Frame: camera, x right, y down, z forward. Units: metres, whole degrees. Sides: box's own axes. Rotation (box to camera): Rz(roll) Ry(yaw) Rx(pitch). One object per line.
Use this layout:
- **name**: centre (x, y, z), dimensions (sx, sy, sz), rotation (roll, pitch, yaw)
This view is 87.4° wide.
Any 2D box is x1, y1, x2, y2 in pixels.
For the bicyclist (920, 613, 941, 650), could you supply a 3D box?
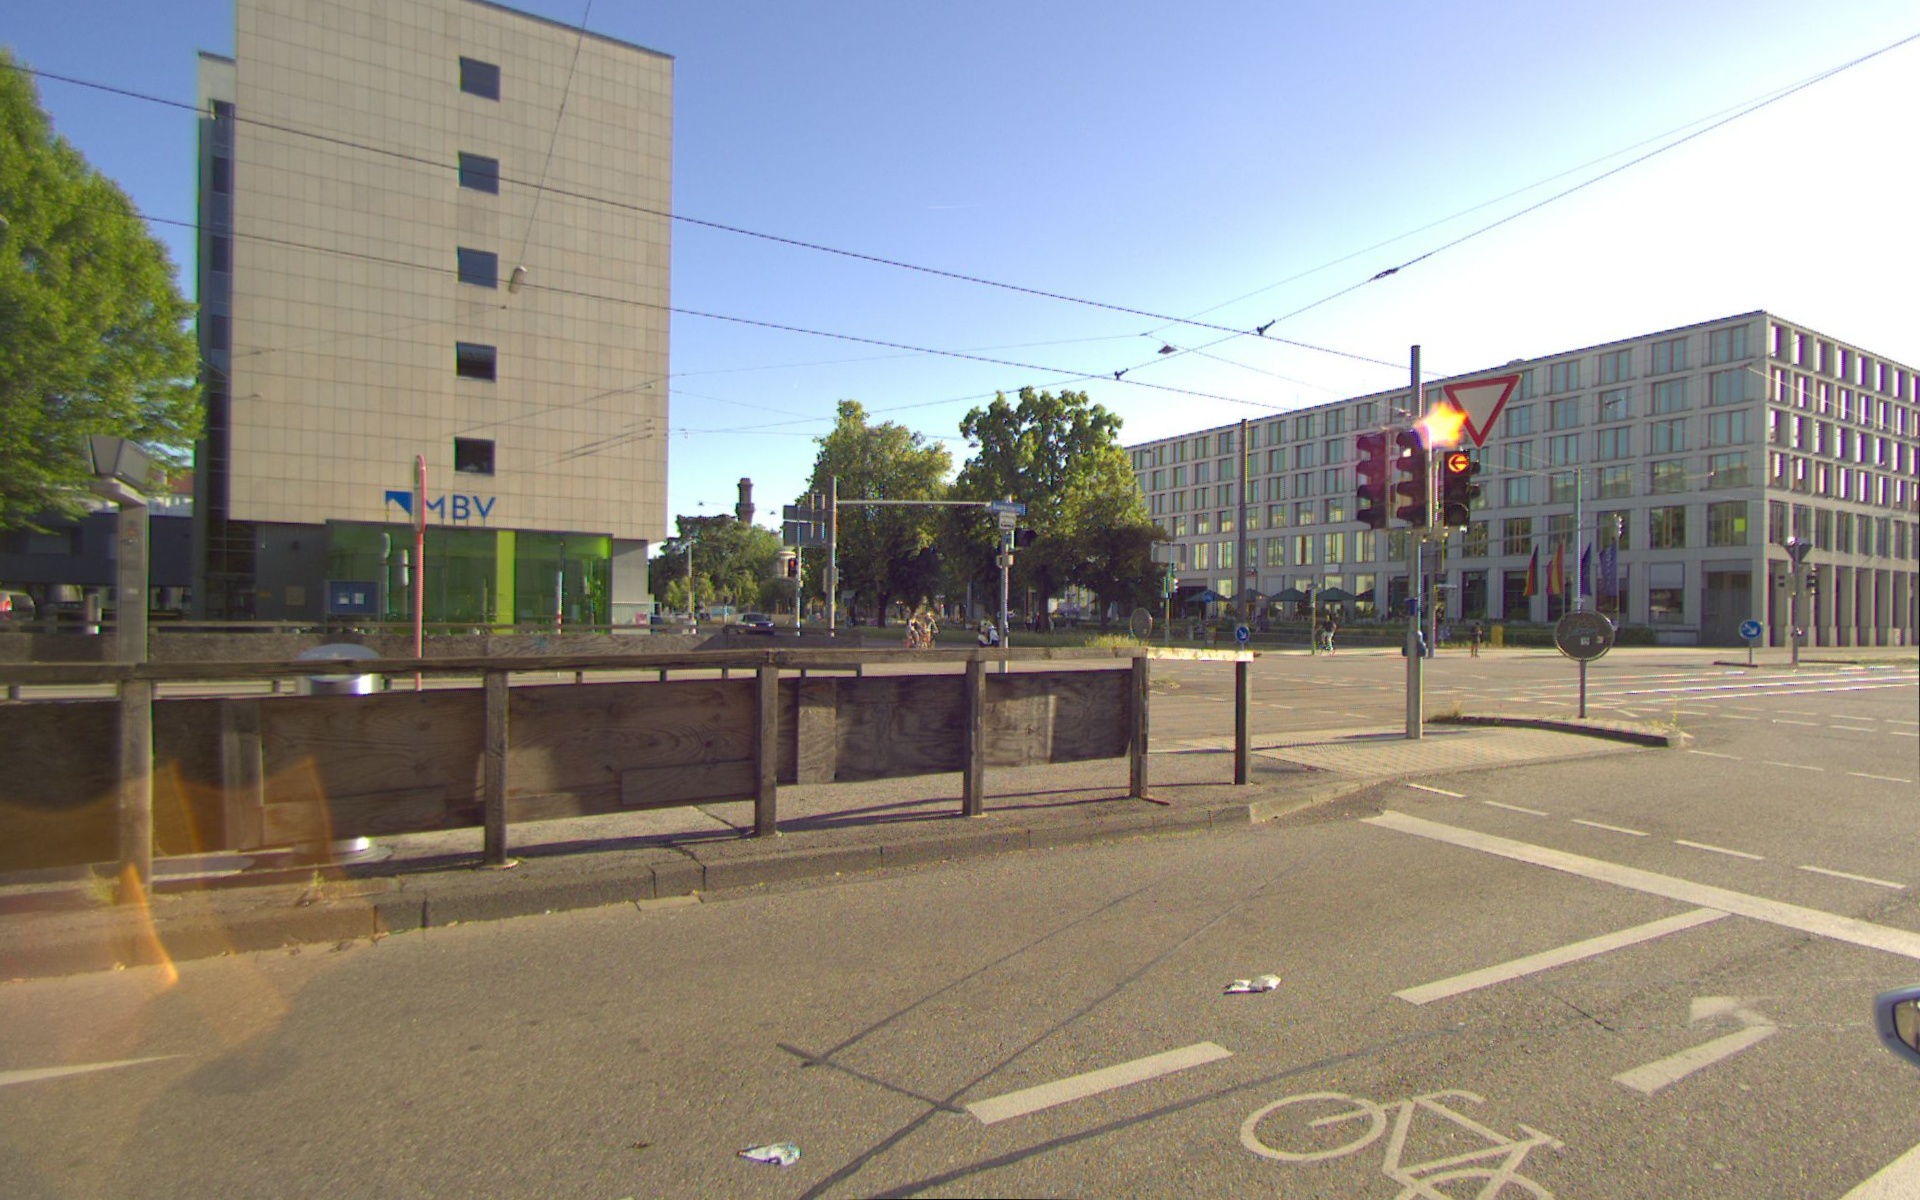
- **bicyclist**: centre (-1.256, 1.335, 42.215), dimensions (0.602, 1.544, 0.709), rotation (1, -1, -32)

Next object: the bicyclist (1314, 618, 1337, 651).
- **bicyclist**: centre (17.971, 1.689, 49.414), dimensions (0.765, 1.610, 0.759), rotation (1, -1, -16)

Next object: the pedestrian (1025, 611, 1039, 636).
- **pedestrian**: centre (5.682, 1.849, 79.392), dimensions (0.864, 1.925, 0.713), rotation (2, 0, -28)

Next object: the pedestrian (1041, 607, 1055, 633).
- **pedestrian**: centre (7.008, 1.605, 80.120), dimensions (0.812, 2.040, 0.841), rotation (2, 0, -20)

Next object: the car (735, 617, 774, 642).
- **car**: centre (-14.414, 2.057, 70.341), dimensions (1.611, 1.639, 3.623), rotation (2, 0, -28)

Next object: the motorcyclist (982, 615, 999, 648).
- **motorcyclist**: centre (1.476, 1.545, 49.351), dimensions (0.561, 1.598, 0.643), rotation (1, -1, -33)

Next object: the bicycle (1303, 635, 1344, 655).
- **bicycle**: centre (17.889, 2.229, 49.404), dimensions (1.835, 0.947, 0.759), rotation (1, -1, -21)

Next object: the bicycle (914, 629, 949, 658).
- **bicycle**: centre (-1.221, 1.822, 42.136), dimensions (0.616, 1.148, 1.869), rotation (1, -1, -31)

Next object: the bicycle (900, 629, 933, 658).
- **bicycle**: centre (-1.834, 1.792, 41.714), dimensions (0.574, 1.148, 1.776), rotation (1, -1, -31)

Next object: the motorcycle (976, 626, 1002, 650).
- **motorcycle**: centre (1.410, 1.871, 49.356), dimensions (0.524, 1.153, 1.449), rotation (1, -1, -34)

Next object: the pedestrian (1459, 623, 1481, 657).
- **pedestrian**: centre (24.936, 1.951, 49.134), dimensions (0.585, 1.610, 0.770), rotation (1, -1, -36)

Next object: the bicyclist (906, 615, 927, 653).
- **bicyclist**: centre (-1.812, 1.396, 41.690), dimensions (0.647, 1.544, 0.615), rotation (1, -1, -32)

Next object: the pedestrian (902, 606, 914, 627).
- **pedestrian**: centre (-5.088, 1.603, 98.776), dimensions (0.814, 2.040, 0.839), rotation (2, 0, -28)
